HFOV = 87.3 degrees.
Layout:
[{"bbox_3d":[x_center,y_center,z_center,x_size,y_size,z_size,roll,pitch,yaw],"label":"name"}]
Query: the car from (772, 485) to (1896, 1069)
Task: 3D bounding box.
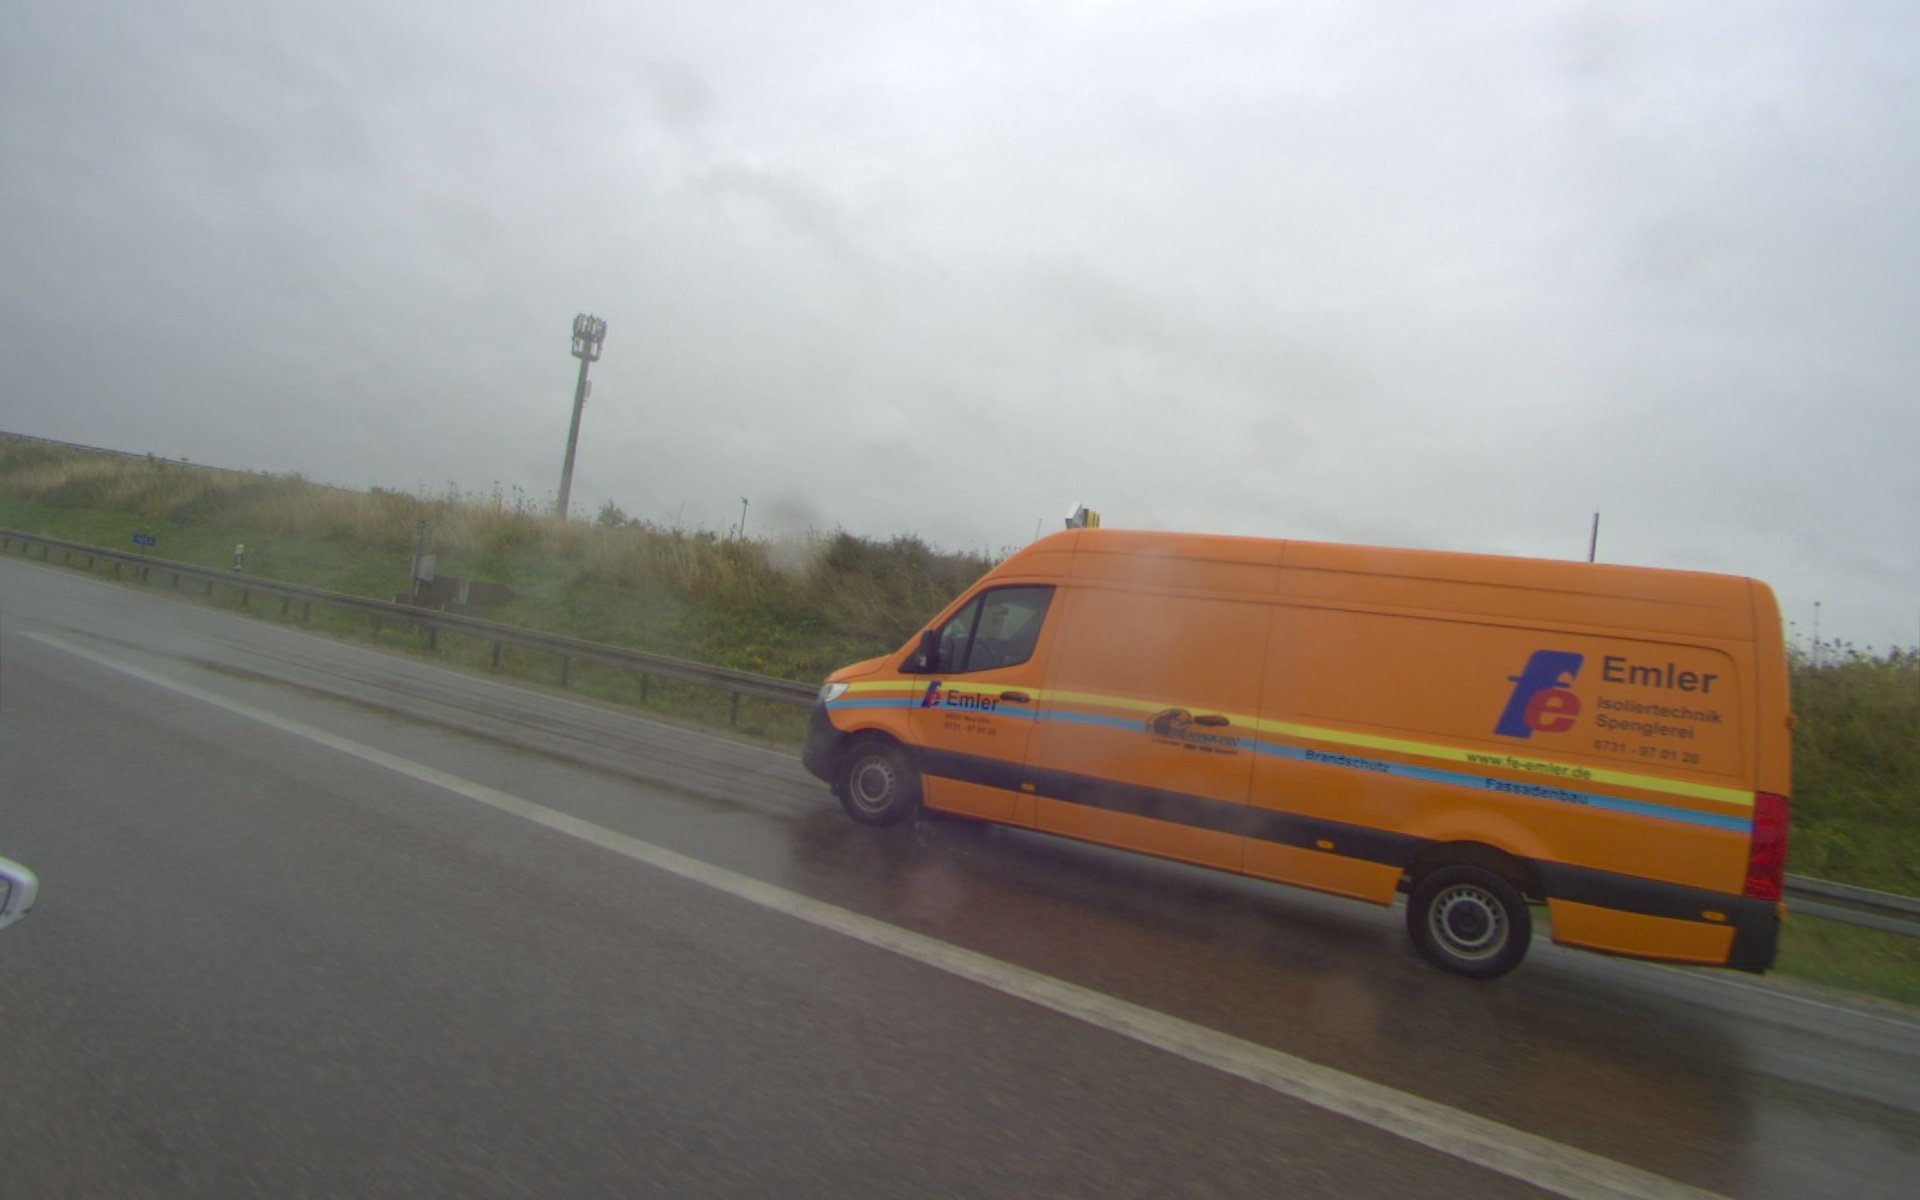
[{"bbox_3d":[2.120,0.861,7.628,6.763,2.644,2.069,7,-3,25],"label":"car"}]
